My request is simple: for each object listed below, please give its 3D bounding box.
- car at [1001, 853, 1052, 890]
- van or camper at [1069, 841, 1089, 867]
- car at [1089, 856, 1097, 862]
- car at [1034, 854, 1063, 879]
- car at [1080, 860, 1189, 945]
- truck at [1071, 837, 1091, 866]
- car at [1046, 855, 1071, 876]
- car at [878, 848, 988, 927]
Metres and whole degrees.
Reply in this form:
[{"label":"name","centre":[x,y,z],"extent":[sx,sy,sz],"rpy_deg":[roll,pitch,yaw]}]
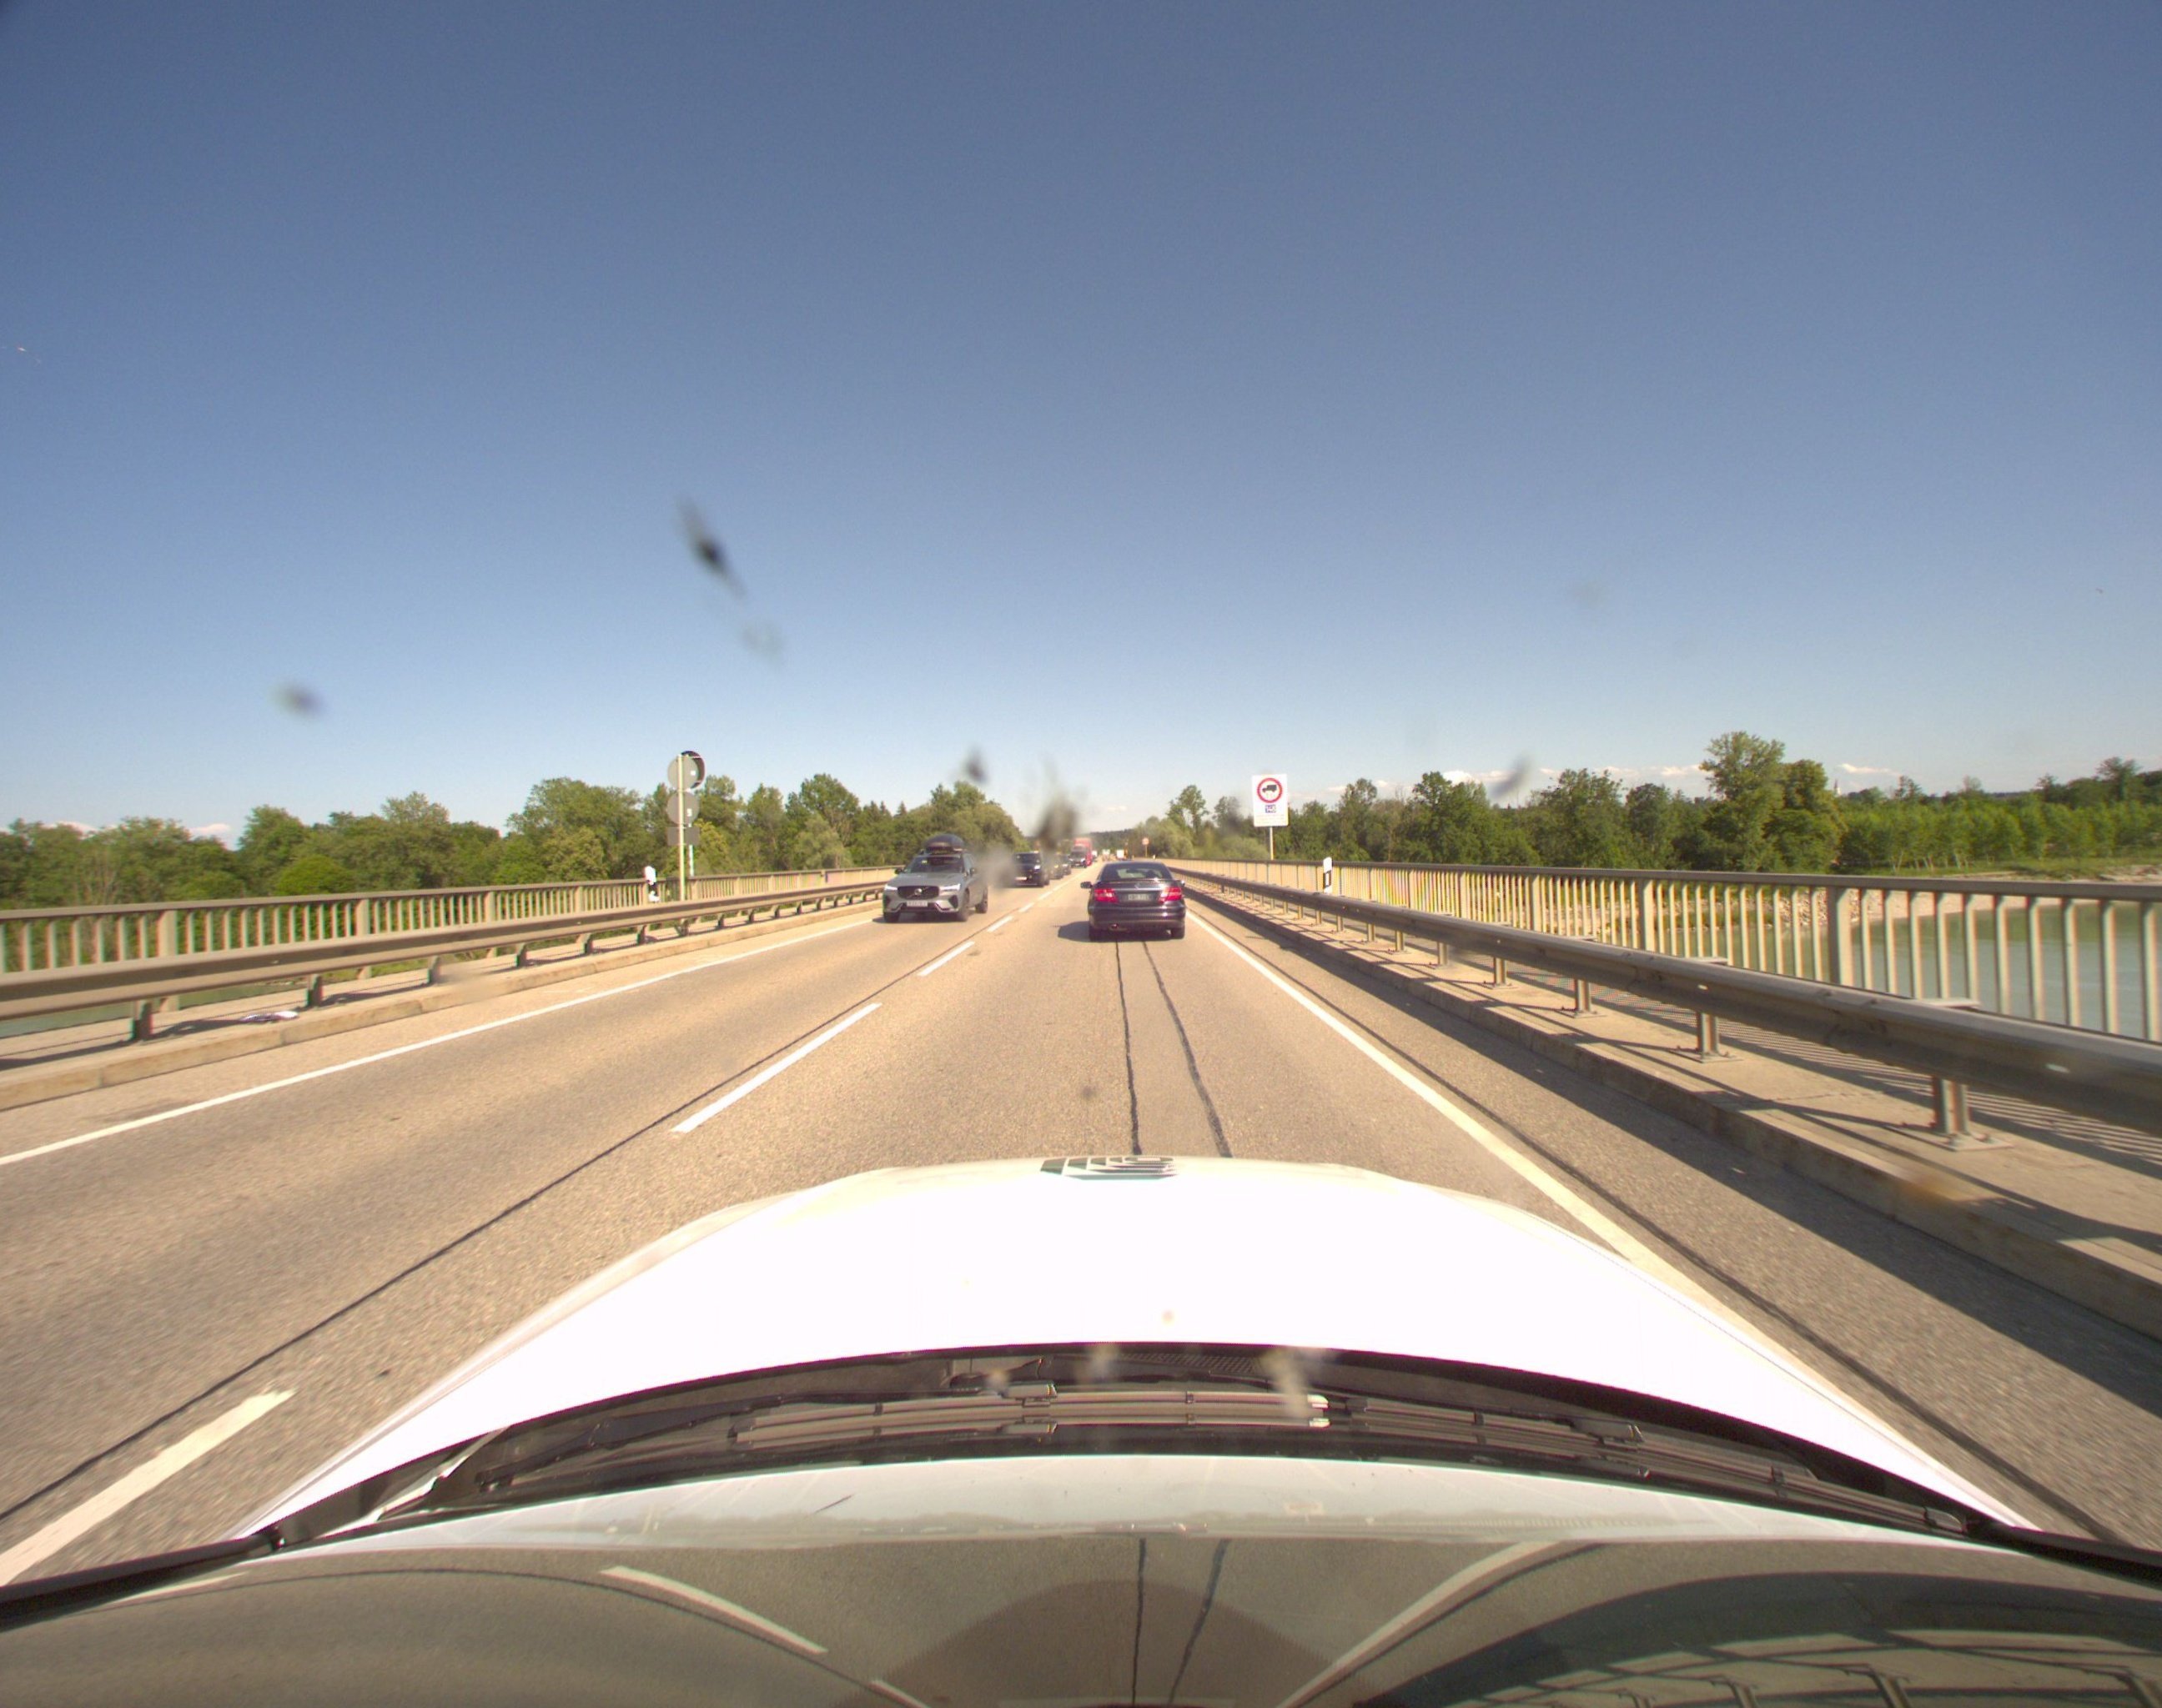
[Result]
[{"label":"car","centre":[-2.597,0.793,40.045],"extent":[2.046,1.652,4.723],"rpy_deg":[1,0,2]},{"label":"van or camper","centre":[-0.219,0.039,100.016],"extent":[2.307,3.051,6.818],"rpy_deg":[-1,0,1]},{"label":"car","centre":[3.107,1.318,212.087],"extent":[1.835,1.642,4.577],"rpy_deg":[-1,0,1]},{"label":"car","centre":[-2.109,0.802,53.079],"extent":[1.801,1.577,4.198],"rpy_deg":[0,0,-2]},{"label":"car","centre":[0.992,0.825,15.484],"extent":[1.786,1.376,4.003],"rpy_deg":[0,0,3]},{"label":"truck","centre":[0.083,-0.367,122.726],"extent":[2.898,4.184,5.713],"rpy_deg":[0,0,0]},{"label":"car","centre":[-1.765,0.878,64.774],"extent":[1.868,1.583,4.274],"rpy_deg":[0,0,1]},{"label":"car","centre":[-3.527,0.740,20.295],"extent":[1.848,1.722,4.566],"rpy_deg":[-1,0,0]}]
